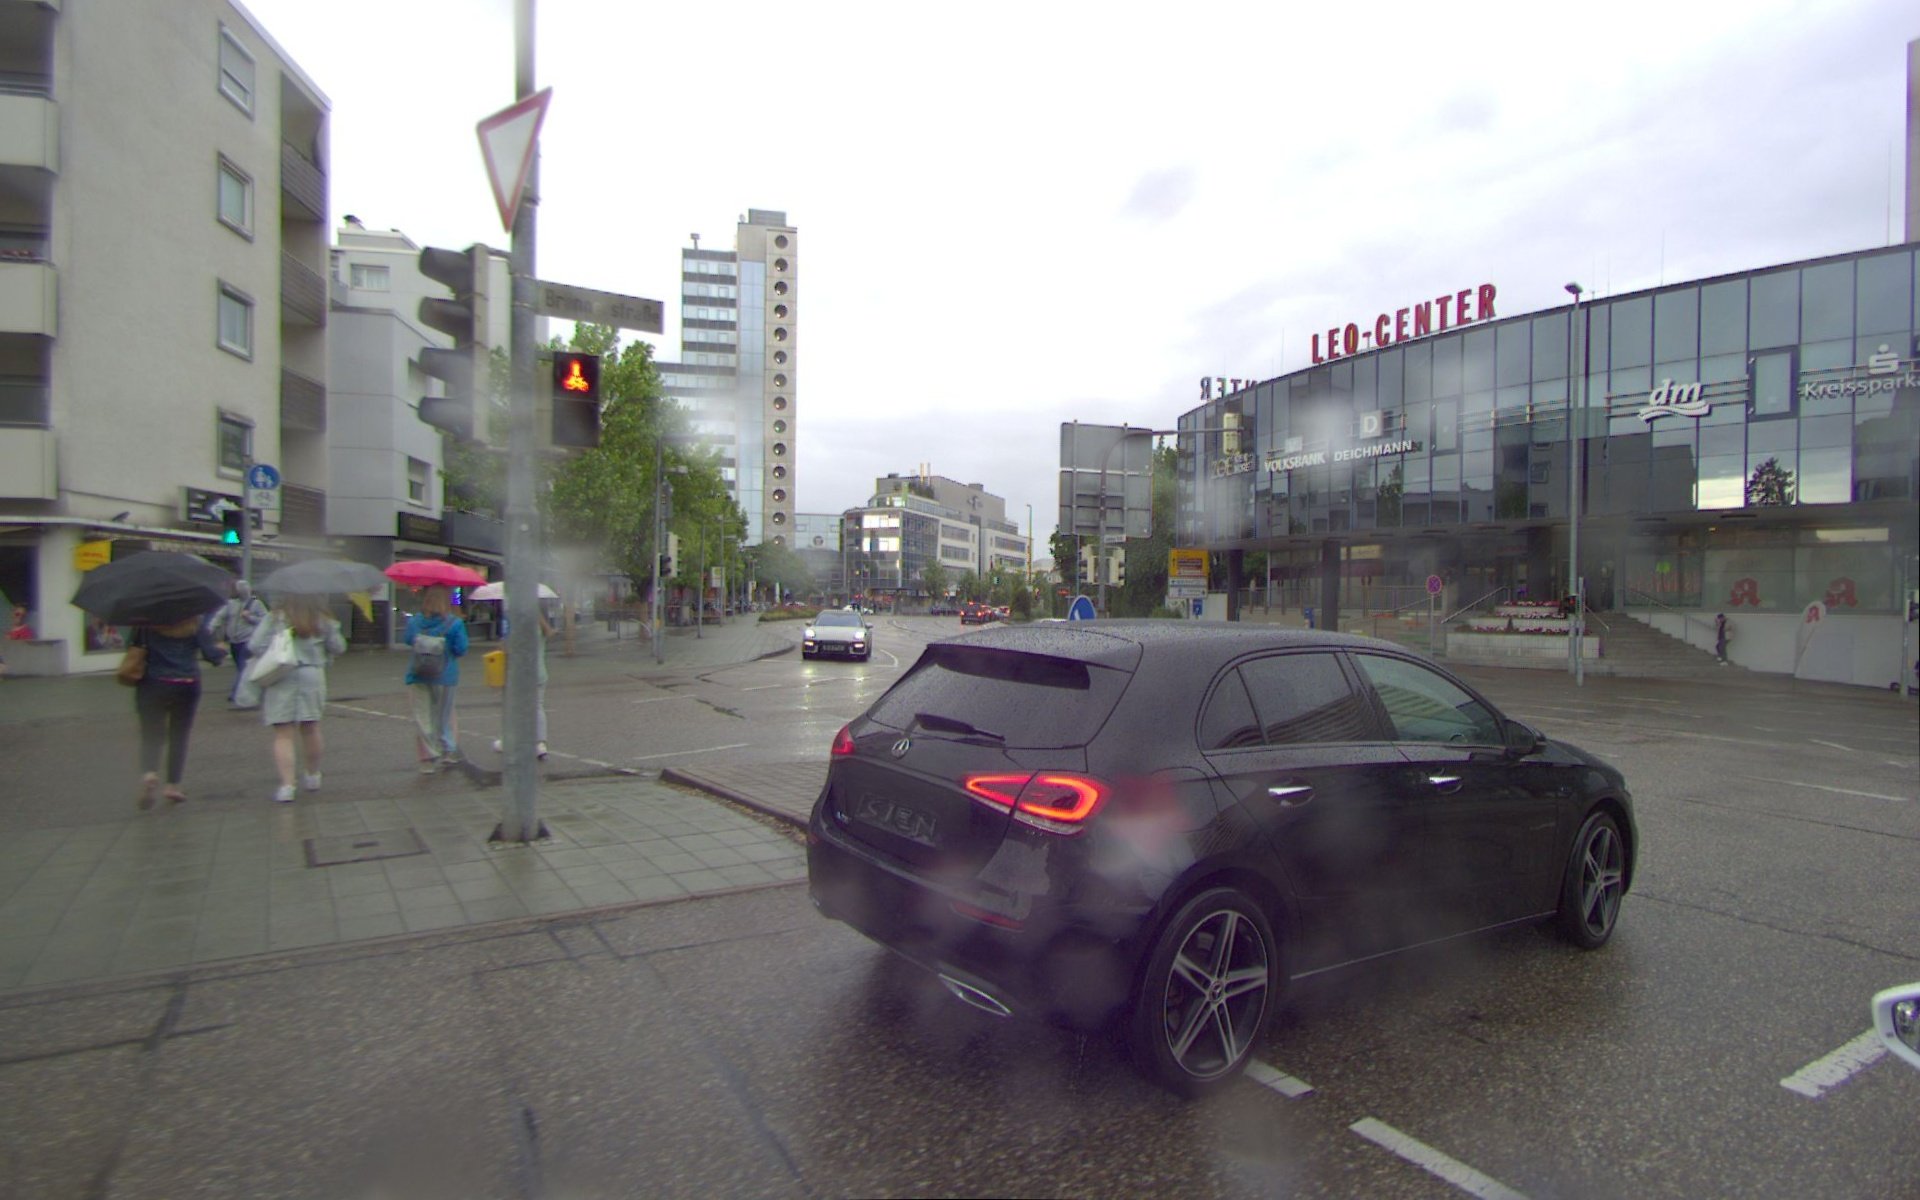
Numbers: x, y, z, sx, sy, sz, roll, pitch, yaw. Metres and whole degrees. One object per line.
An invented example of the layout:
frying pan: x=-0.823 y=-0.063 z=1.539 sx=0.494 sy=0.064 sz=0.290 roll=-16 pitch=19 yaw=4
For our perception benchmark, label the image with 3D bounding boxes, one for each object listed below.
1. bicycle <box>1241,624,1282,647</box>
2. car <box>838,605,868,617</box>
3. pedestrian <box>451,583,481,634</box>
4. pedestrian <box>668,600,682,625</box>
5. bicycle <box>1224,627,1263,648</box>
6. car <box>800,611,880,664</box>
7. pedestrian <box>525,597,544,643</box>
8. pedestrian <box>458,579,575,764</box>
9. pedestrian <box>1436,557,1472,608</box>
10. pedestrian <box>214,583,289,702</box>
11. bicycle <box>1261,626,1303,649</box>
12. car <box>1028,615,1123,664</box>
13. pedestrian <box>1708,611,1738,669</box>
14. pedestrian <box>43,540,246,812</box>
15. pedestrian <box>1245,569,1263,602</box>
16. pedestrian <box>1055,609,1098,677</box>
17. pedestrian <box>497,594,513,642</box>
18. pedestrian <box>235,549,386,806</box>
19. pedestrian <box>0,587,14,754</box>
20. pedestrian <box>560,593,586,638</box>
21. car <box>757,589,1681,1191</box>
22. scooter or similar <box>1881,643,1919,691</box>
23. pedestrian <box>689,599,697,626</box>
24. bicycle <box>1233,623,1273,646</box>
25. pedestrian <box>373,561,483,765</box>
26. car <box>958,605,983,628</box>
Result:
bicycle: x=14.693 y=1.717 z=48.965 sx=1.823 sy=1.056 sz=0.646 roll=-2 pitch=0 yaw=-14
car: x=-14.674 y=1.528 z=138.017 sx=3.826 sy=1.538 sz=1.780 roll=1 pitch=1 yaw=-14
pedestrian: x=-20.031 y=0.342 z=40.736 sx=0.859 sy=2.040 sz=0.923 roll=1 pitch=0 yaw=-13
pedestrian: x=-18.079 y=0.789 z=63.796 sx=0.785 sy=1.592 sz=0.633 roll=1 pitch=1 yaw=-20
bicycle: x=14.227 y=1.861 z=50.352 sx=1.822 sy=0.964 sz=0.535 roll=-2 pitch=2 yaw=-11
car: x=-3.678 y=1.121 z=31.669 sx=2.082 sy=1.432 sz=5.144 roll=2 pitch=-1 yaw=-3
pedestrian: x=-17.165 y=0.809 z=40.501 sx=0.557 sy=1.817 sz=0.491 roll=1 pitch=0 yaw=-7
pedestrian: x=-4.370 y=0.665 z=9.882 sx=0.907 sy=1.699 sz=0.930 roll=1 pitch=0 yaw=-33
pedestrian: x=20.369 y=-0.732 z=41.402 sx=0.937 sy=2.041 sz=0.829 roll=2 pitch=1 yaw=-18
pedestrian: x=-10.317 y=0.607 z=14.659 sx=0.805 sy=1.677 sz=0.709 roll=1 pitch=0 yaw=-31
bicycle: x=15.168 y=1.755 z=47.363 sx=1.823 sy=1.037 sz=0.630 roll=-1 pitch=0 yaw=-14
car: x=3.811 y=1.282 z=33.835 sx=1.719 sy=1.460 sz=3.977 roll=1 pitch=0 yaw=-18
pedestrian: x=25.903 y=1.343 z=34.086 sx=0.590 sy=1.934 sz=0.650 roll=1 pitch=1 yaw=-40
pedestrian: x=-5.705 y=0.503 z=7.104 sx=0.942 sy=1.759 sz=0.830 roll=1 pitch=-1 yaw=-29
pedestrian: x=15.790 y=-0.762 z=53.942 sx=0.642 sy=1.736 sz=0.599 roll=2 pitch=1 yaw=-9
pedestrian: x=2.887 y=1.045 z=24.861 sx=0.795 sy=1.645 sz=0.950 roll=1 pitch=0 yaw=-11
pedestrian: x=-16.406 y=0.646 z=36.234 sx=0.442 sy=1.747 sz=0.499 roll=1 pitch=0 yaw=-15
pedestrian: x=-4.866 y=0.538 z=7.605 sx=0.849 sy=1.767 sz=1.129 roll=1 pitch=0 yaw=-29
pedestrian: x=-9.569 y=0.668 z=9.377 sx=0.902 sy=1.606 sz=0.653 roll=1 pitch=0 yaw=-27
pedestrian: x=-16.111 y=0.648 z=41.850 sx=0.859 sy=1.835 sz=0.923 roll=1 pitch=0 yaw=-13
car: x=1.344 y=0.777 z=4.406 sx=4.053 sy=1.501 sz=1.652 roll=1 pitch=1 yaw=-35
scooter or similar: x=29.025 y=2.061 z=30.768 sx=1.154 sy=1.391 sz=0.486 roll=3 pitch=2 yaw=43
pedestrian: x=-17.116 y=0.796 z=64.345 sx=0.480 sy=1.741 sz=0.536 roll=1 pitch=1 yaw=-16
bicycle: x=14.505 y=1.703 z=49.699 sx=1.823 sy=1.047 sz=0.627 roll=-2 pitch=0 yaw=-14
pedestrian: x=-4.691 y=0.536 z=8.884 sx=0.796 sy=1.707 sz=0.669 roll=1 pitch=-1 yaw=-28
car: x=1.011 y=1.492 z=92.143 sx=2.008 sy=1.921 sz=4.140 roll=1 pitch=1 yaw=4
